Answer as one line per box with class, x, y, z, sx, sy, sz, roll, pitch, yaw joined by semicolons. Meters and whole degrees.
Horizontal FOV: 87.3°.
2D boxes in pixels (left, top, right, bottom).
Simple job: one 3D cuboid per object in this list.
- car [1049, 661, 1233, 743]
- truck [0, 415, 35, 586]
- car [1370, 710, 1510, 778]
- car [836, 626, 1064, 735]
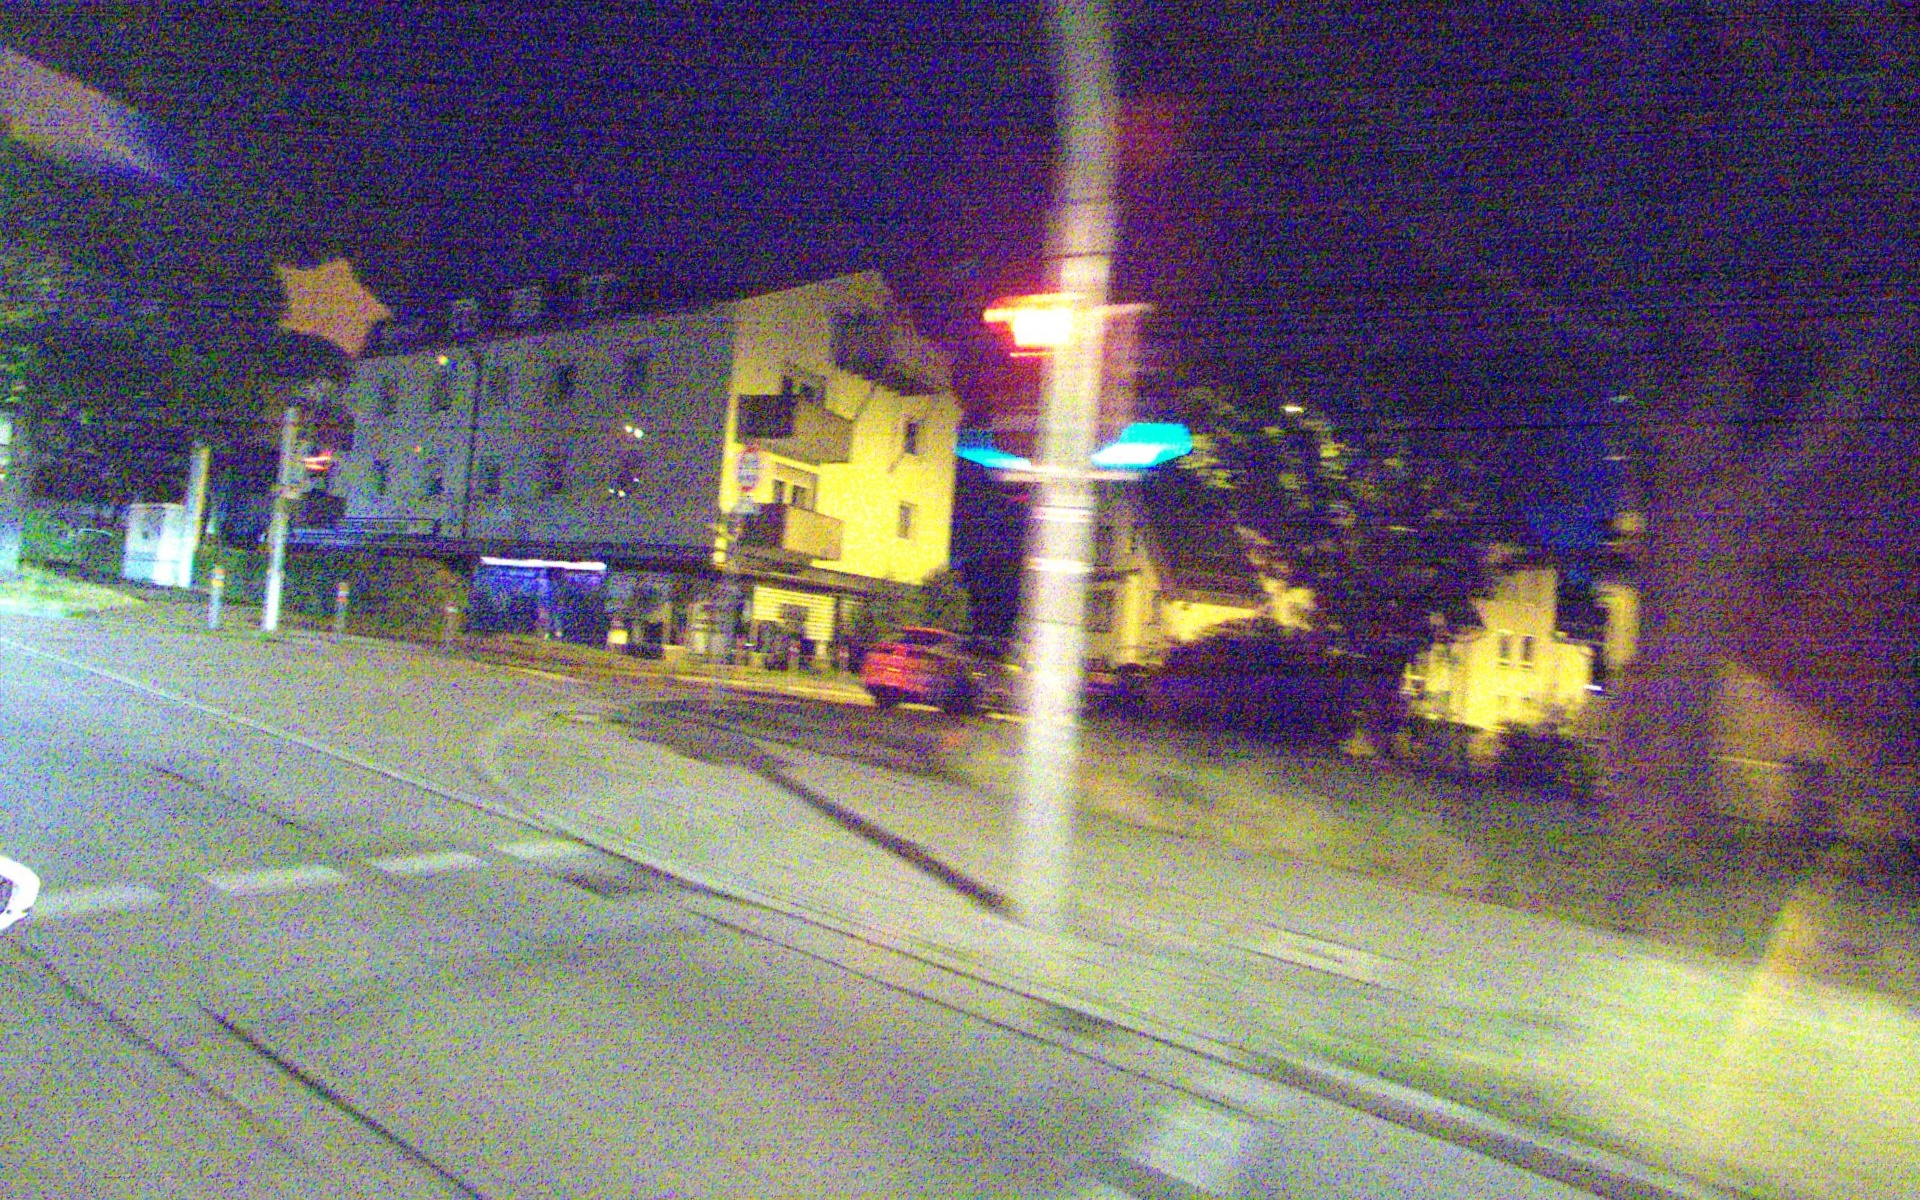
car;4.252;2.393;23.370;4.044;1.402;1.863;10;-5;-36
truck;-20.900;-2.187;19.243;6.919;3.082;2.767;6;0;31
car;13.360;4.017;27.988;3.656;1.372;1.629;9;-3;-29
car;-0.081;1.607;19.415;2.024;1.572;4.242;5;-5;40
